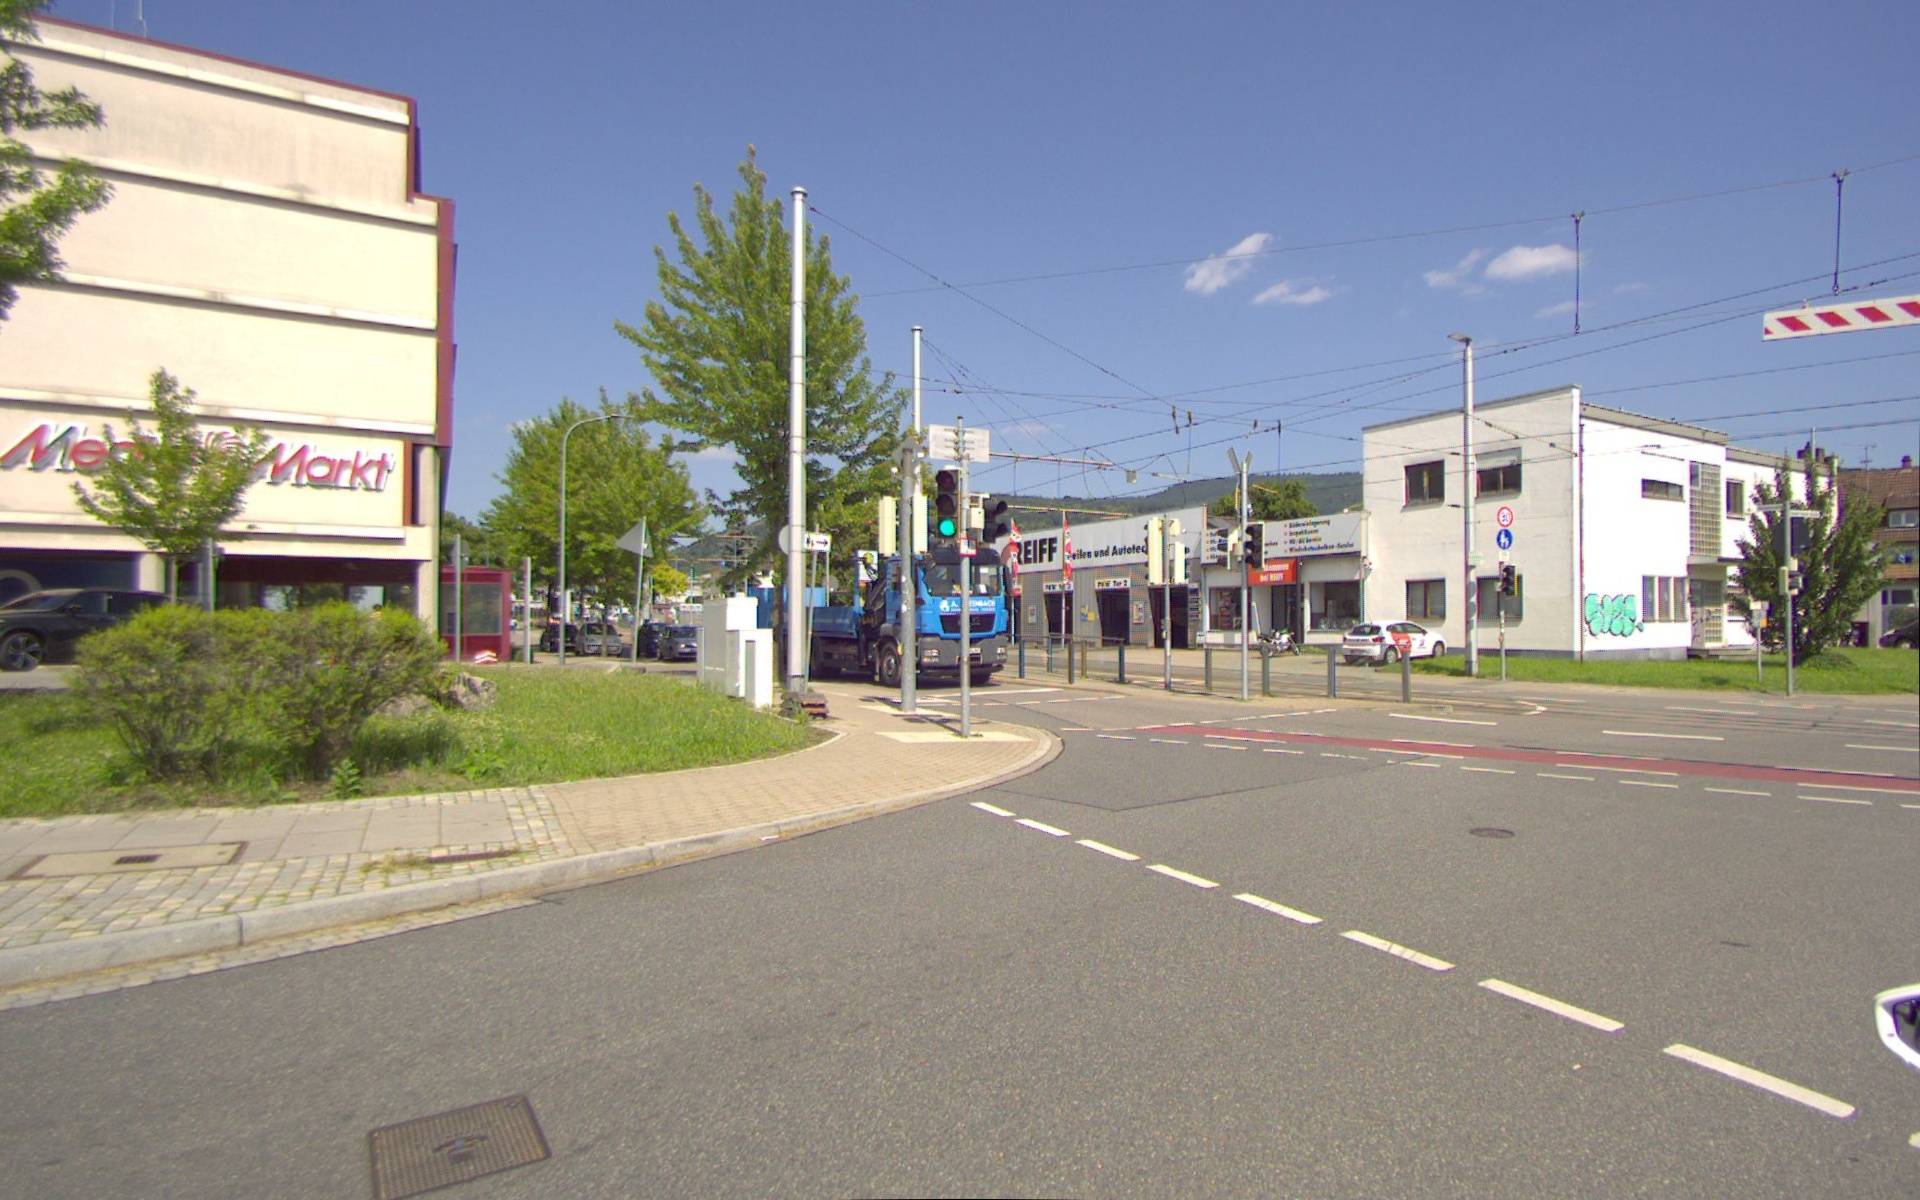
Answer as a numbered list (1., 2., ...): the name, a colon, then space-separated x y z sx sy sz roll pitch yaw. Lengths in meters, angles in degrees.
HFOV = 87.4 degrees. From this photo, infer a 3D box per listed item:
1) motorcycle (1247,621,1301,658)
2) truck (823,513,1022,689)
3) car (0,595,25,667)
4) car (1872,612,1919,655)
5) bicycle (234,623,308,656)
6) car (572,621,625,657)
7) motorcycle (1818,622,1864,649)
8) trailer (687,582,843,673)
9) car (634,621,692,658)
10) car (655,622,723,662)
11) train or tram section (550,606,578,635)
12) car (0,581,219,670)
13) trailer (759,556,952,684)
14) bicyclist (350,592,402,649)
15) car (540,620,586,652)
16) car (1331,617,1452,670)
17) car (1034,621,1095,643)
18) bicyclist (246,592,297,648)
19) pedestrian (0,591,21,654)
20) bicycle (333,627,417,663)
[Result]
1. motorcycle: 12.463 1.556 39.851 2.165 1.326 0.725 -3 0 -31
2. truck: -1.037 0.064 23.744 2.720 3.656 5.000 1 -1 -30
3. car: -21.653 0.583 19.497 1.879 1.512 4.873 0 -2 14
4. car: 43.382 1.454 43.697 1.982 1.840 5.210 1 -2 -37
5. bicycle: -18.833 1.064 27.462 1.807 0.804 0.728 2 -1 20
6. car: -16.286 1.737 45.180 1.707 1.482 3.876 2 -2 -28
7. motorcycle: 37.298 1.519 42.518 2.540 1.046 0.846 3 -1 -34
8. trailer: -6.696 0.871 33.517 2.773 2.663 7.538 1 -1 -31
9. car: -13.966 1.811 47.117 1.708 1.605 4.039 -2 0 -30
10. car: -11.372 1.708 41.967 1.708 1.492 4.245 -1 0 -30
11. train or tram section: -49.257 2.536 124.872 2.588 3.580 5.698 0 -1 -29
12. car: -18.614 0.621 20.906 2.143 1.615 5.121 -1 -4 8
13. trailer: -3.054 0.516 27.286 2.720 3.017 6.843 1 -1 -30
14. bicyclist: -15.418 0.542 26.532 0.904 1.467 0.723 2 0 6
15. car: -20.180 1.788 51.003 1.744 1.539 3.971 1 -1 -28
16. car: 14.935 1.462 34.745 3.954 1.482 1.874 -3 1 -31
17. car: 6.762 2.060 64.690 3.735 1.394 1.709 1 -1 -34
18. bicyclist: -18.835 0.542 27.477 0.904 1.467 0.723 2 0 20
19. pedestrian: -21.226 0.494 22.192 0.511 1.374 0.463 1 -1 1
20. bicycle: -15.437 1.172 26.530 1.806 0.860 0.729 2 0 5
